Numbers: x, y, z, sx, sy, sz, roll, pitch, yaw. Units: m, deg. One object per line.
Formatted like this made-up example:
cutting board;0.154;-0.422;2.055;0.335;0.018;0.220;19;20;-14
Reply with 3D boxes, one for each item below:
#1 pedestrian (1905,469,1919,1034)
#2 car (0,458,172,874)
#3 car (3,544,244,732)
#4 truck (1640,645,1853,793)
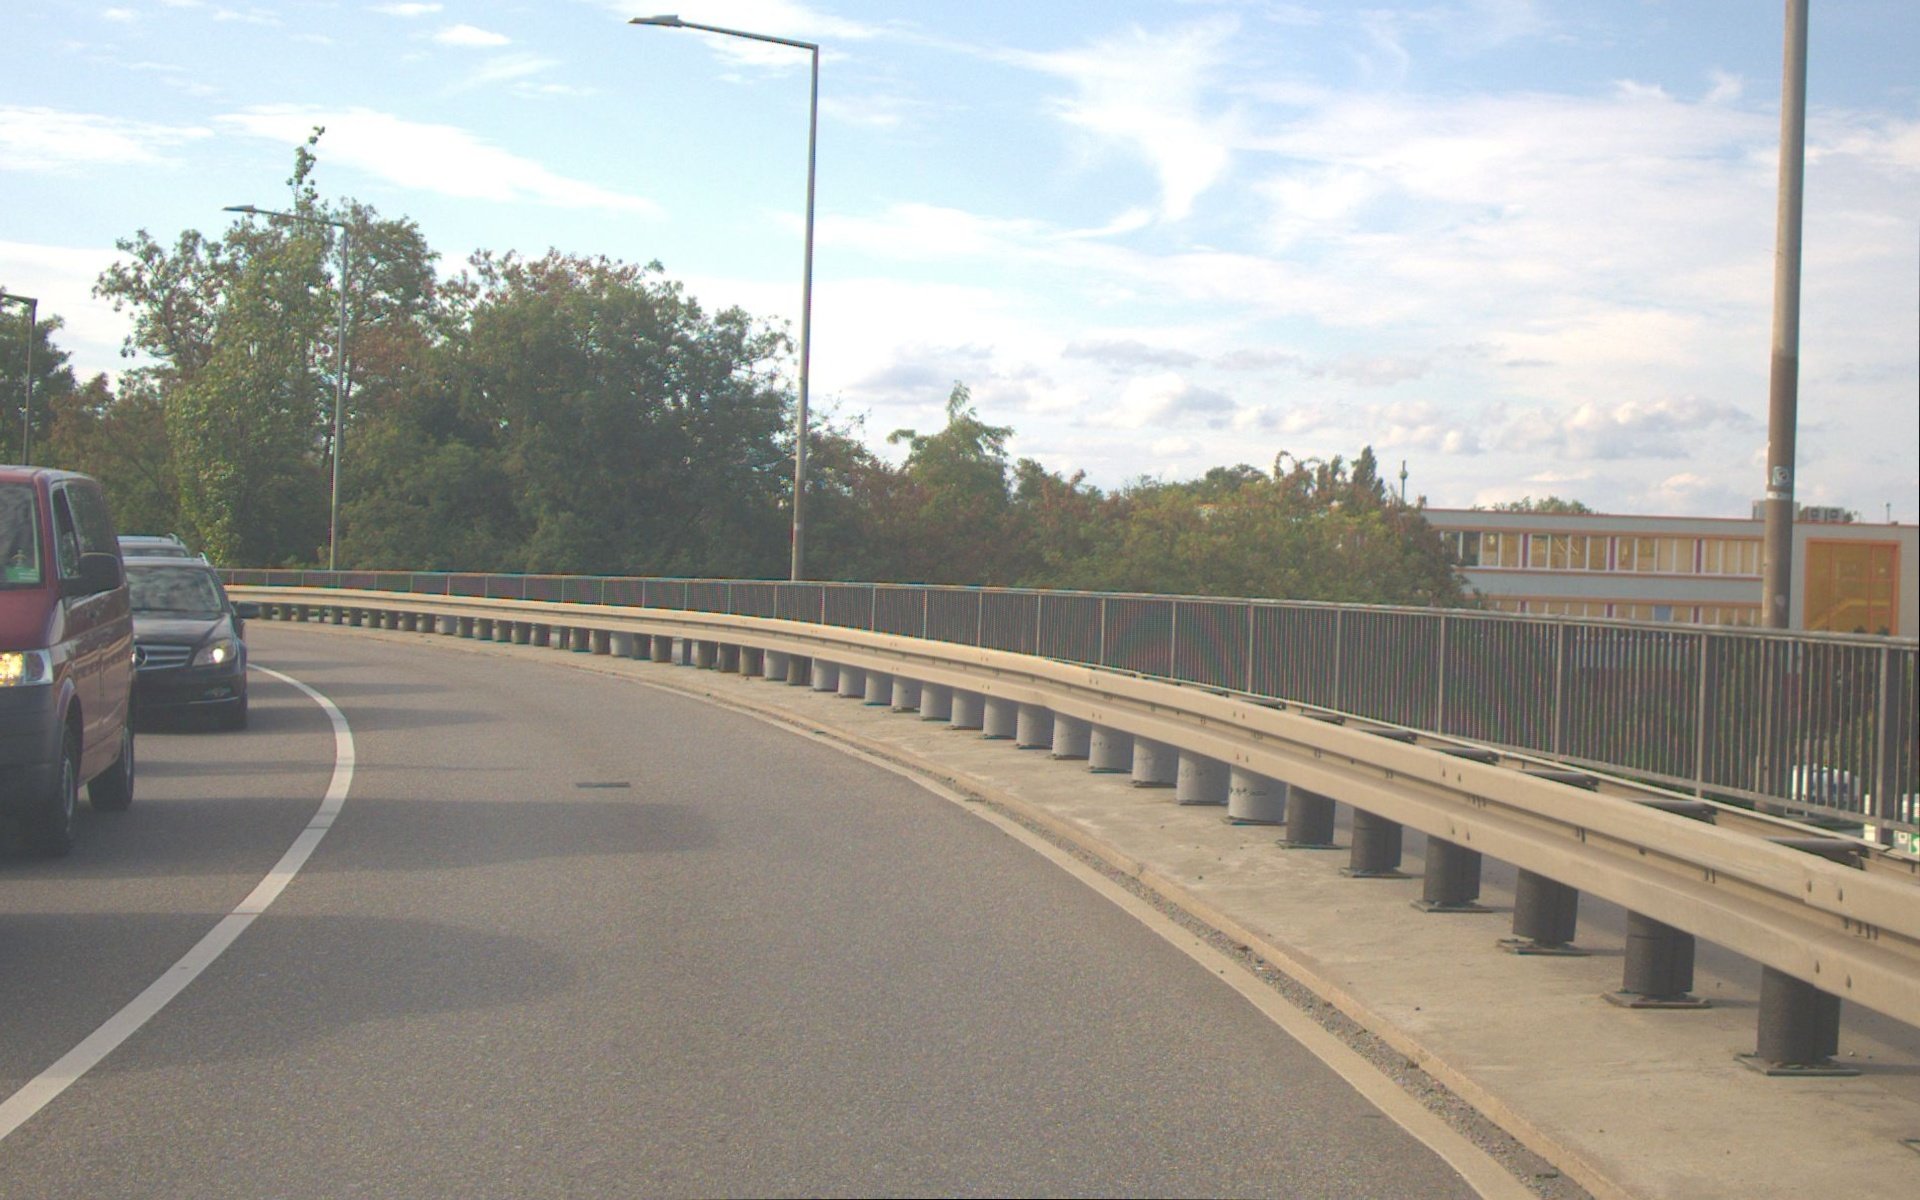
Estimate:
pedestrian;3.157;0.446;9.773;0.676;1.656;0.865;0;0;-2
car;-5.431;0.270;17.997;2.007;1.897;4.869;-1;1;-7
car;-7.085;0.263;29.392;1.832;1.460;4.519;-1;1;-12
truck;28.498;4.213;125.306;3.628;4.838;11.280;0;1;-9
